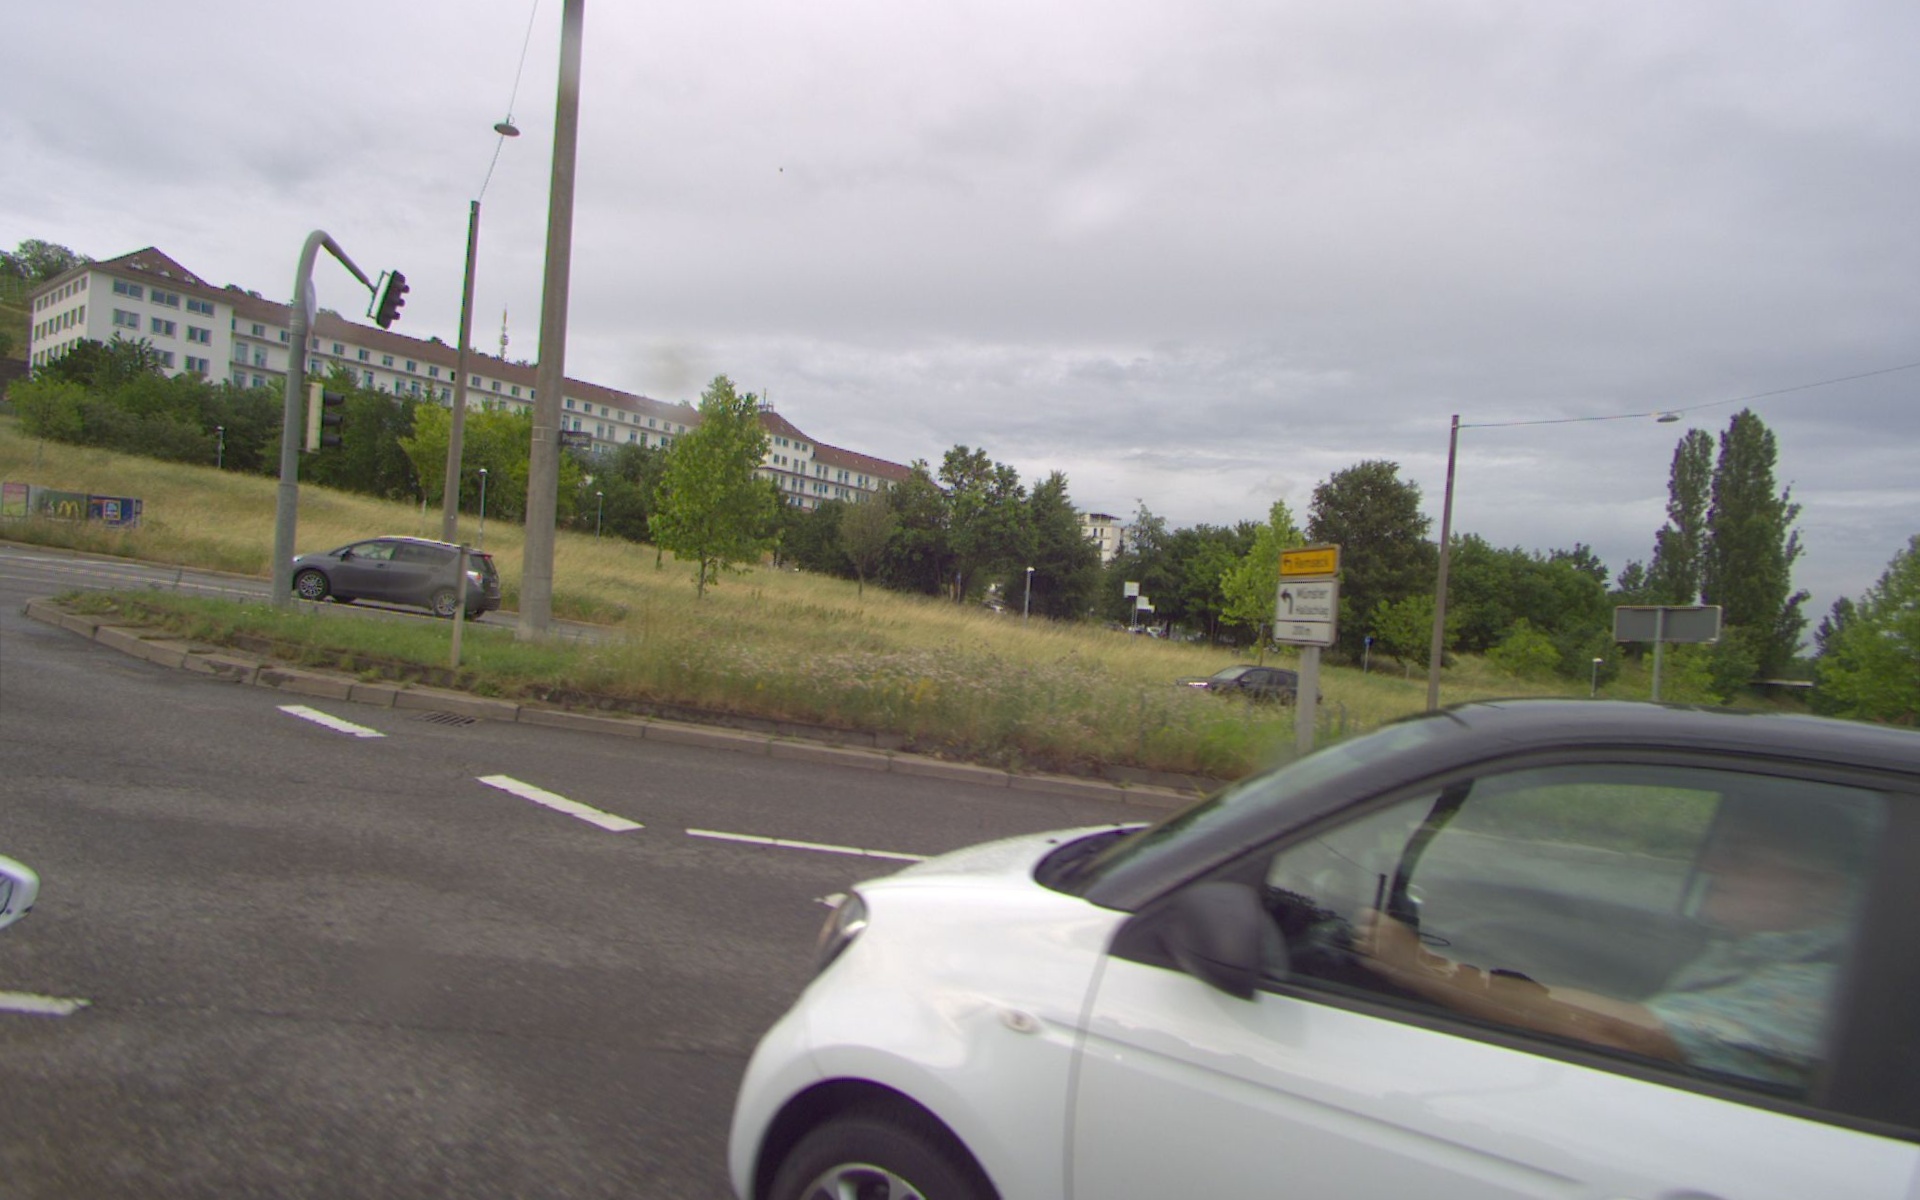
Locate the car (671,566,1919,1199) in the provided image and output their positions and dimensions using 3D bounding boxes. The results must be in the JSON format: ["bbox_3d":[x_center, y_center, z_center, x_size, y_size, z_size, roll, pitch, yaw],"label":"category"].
[{"bbox_3d":[1.659,0.976,1.730,4.157,1.541,1.723,7,0,32],"label":"car"}]

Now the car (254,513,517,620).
[{"bbox_3d":[-12.741,-0.674,22.626,4.551,1.660,1.998,8,-3,-10],"label":"car"}]

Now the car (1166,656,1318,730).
[{"bbox_3d":[8.294,2.737,29.738,3.820,1.659,1.722,8,-4,-7],"label":"car"}]

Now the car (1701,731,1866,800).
[{"bbox_3d":[25.305,5.073,30.952,3.935,1.444,1.744,8,0,-12],"label":"car"}]
